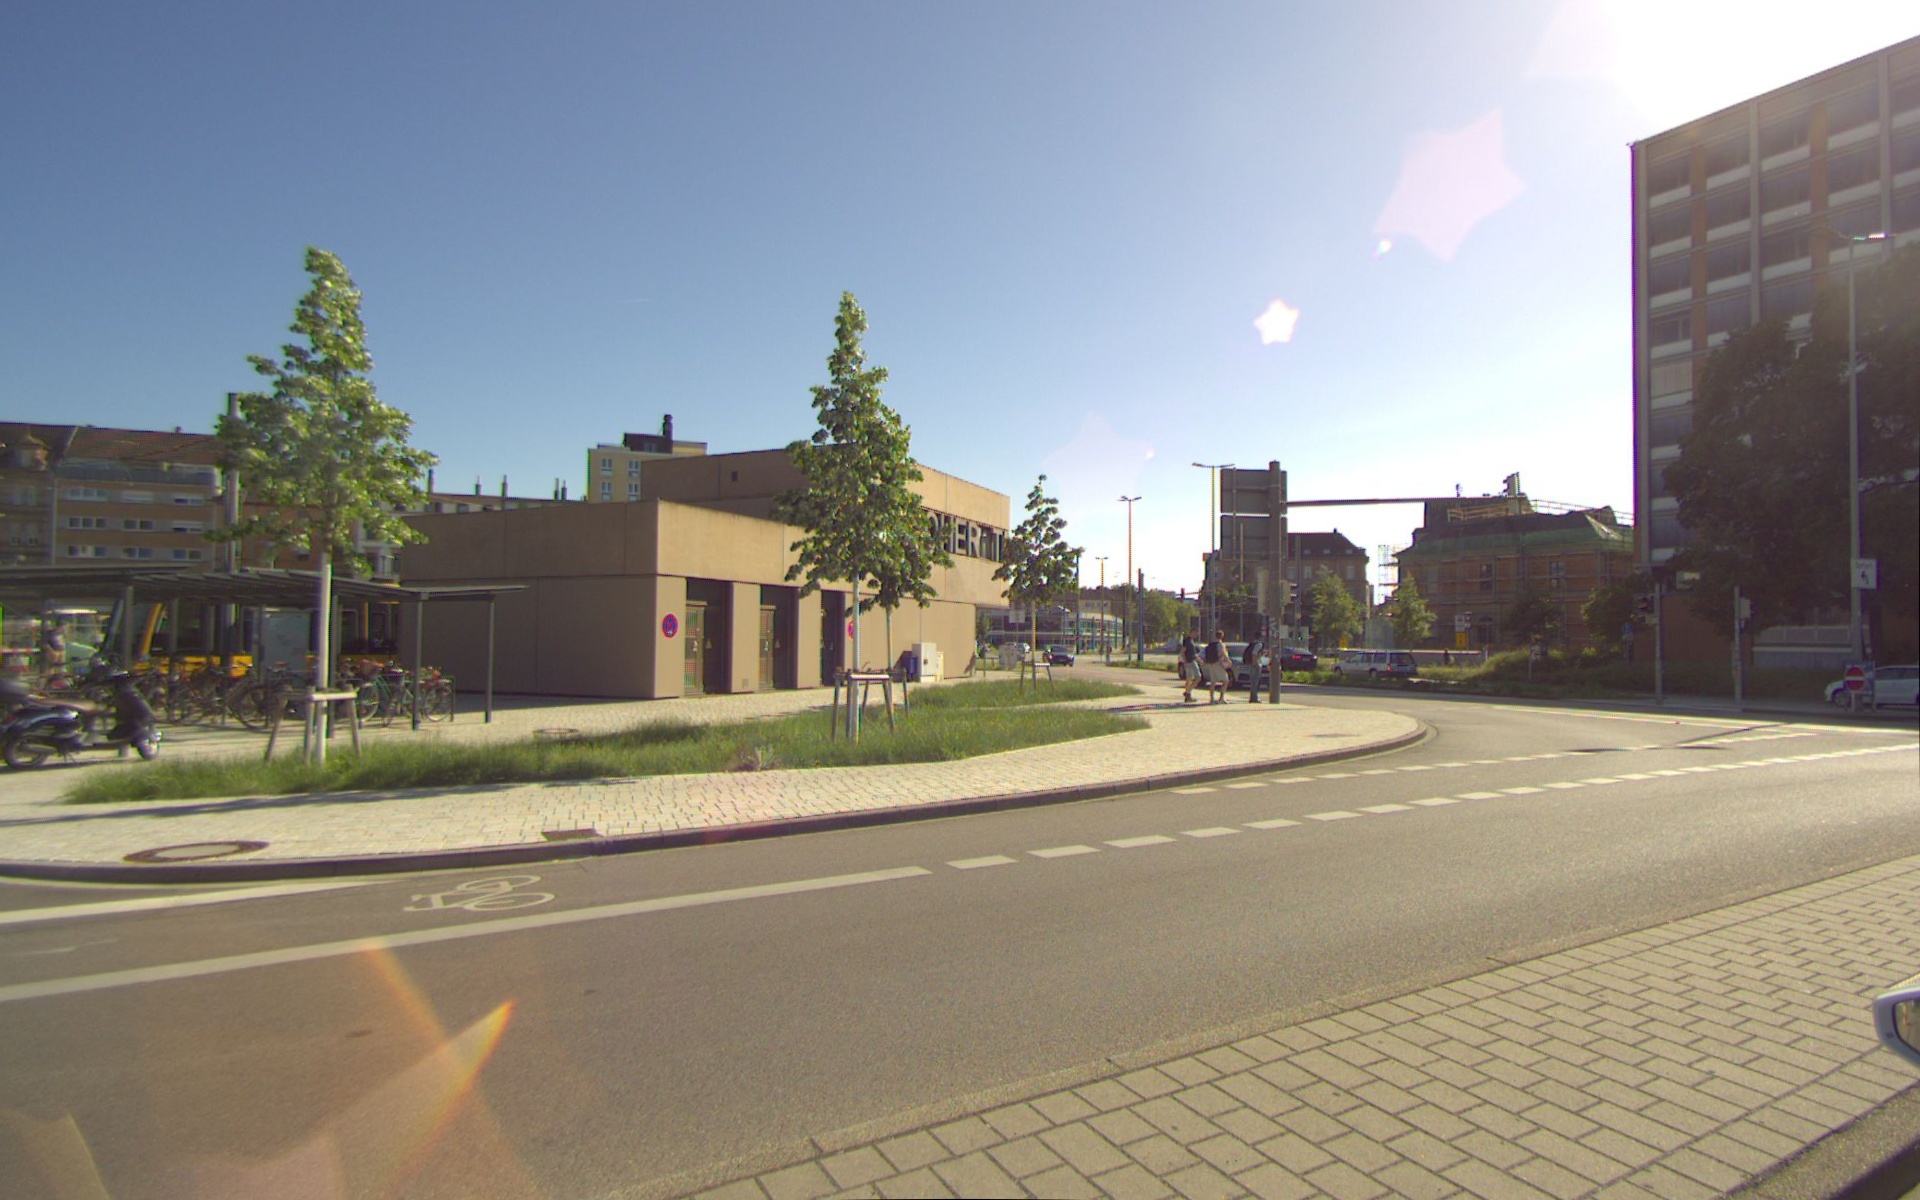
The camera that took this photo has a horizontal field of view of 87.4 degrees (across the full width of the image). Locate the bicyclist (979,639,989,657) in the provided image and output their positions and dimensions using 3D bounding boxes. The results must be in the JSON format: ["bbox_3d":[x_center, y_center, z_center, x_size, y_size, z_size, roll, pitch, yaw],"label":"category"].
[{"bbox_3d":[2.038,4.157,86.777,0.727,1.519,1.071,1,-3,-7],"label":"bicyclist"}]

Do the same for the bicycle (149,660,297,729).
[{"bbox_3d":[-12.897,1.627,17.658,0.524,1.051,2.070,2,0,26],"label":"bicycle"}]

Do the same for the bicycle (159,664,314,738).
[{"bbox_3d":[-12.012,1.650,16.763,0.524,1.051,2.070,2,0,26],"label":"bicycle"}]

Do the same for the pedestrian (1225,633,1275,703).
[{"bbox_3d":[7.358,1.727,25.519,0.831,1.711,0.896,5,-5,-34],"label":"pedestrian"}]

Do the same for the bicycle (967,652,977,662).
[{"bbox_3d":[1.152,5.350,94.548,0.674,0.930,1.989,1,-4,-8],"label":"bicycle"}]

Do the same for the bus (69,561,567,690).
[{"bbox_3d":[-18.520,0.861,31.168,2.810,3.112,13.620,0,-2,25],"label":"bus"}]

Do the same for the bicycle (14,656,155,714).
[{"bbox_3d":[-17.771,1.695,20.458,0.524,1.051,2.070,5,0,26],"label":"bicycle"}]

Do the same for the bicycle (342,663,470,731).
[{"bbox_3d":[-9.966,1.719,18.162,0.524,1.051,2.070,2,0,26],"label":"bicycle"}]

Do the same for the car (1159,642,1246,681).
[{"bbox_3d":[11.131,2.856,46.436,1.815,1.640,4.687,3,-4,-16],"label":"car"}]

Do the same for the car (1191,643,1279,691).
[{"bbox_3d":[9.725,2.356,35.859,1.759,1.602,4.257,0,-3,-3],"label":"car"}]

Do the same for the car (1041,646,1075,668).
[{"bbox_3d":[7.032,4.137,72.384,1.784,1.524,4.785,-1,-3,-3],"label":"car"}]

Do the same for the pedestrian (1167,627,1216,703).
[{"bbox_3d":[5.757,1.620,25.018,1.081,1.822,0.706,1,-4,2],"label":"pedestrian"}]

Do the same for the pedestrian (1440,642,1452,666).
[{"bbox_3d":[33.072,3.670,68.337,0.636,1.637,0.548,0,-2,10],"label":"pedestrian"}]

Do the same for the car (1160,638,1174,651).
[{"bbox_3d":[34.367,7.385,166.953,1.959,2.040,4.003,0,-2,7],"label":"car"}]

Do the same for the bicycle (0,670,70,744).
[{"bbox_3d":[-13.695,1.529,14.175,0.399,0.985,1.683,2,0,22],"label":"bicycle"}]

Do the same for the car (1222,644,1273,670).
[{"bbox_3d":[19.783,3.914,69.307,1.810,1.653,4.382,1,-2,-8],"label":"car"}]

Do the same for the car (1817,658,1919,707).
[{"bbox_3d":[30.700,2.716,32.801,1.714,1.454,3.837,3,-2,-15],"label":"car"}]

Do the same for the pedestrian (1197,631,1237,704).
[{"bbox_3d":[6.214,1.630,24.274,0.773,1.711,0.795,1,-5,1],"label":"pedestrian"}]

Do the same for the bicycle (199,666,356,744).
[{"bbox_3d":[-10.902,1.647,16.134,0.524,1.051,2.070,2,0,26],"label":"bicycle"}]

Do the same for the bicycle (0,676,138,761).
[{"bbox_3d":[-12.201,1.571,13.579,0.399,0.985,1.683,2,0,22],"label":"bicycle"}]

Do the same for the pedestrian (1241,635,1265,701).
[{"bbox_3d":[7.892,1.829,27.070,0.585,1.751,0.580,0,-2,14],"label":"pedestrian"}]

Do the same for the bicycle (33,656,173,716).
[{"bbox_3d":[-16.882,1.675,19.849,0.524,1.051,2.070,-2,-2,26],"label":"bicycle"}]

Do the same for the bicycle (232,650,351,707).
[{"bbox_3d":[-13.916,1.613,20.994,0.524,1.051,2.070,2,0,26],"label":"bicycle"}]

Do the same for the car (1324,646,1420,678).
[{"bbox_3d":[19.863,2.970,48.659,1.812,1.406,4.888,1,-2,-13],"label":"car"}]

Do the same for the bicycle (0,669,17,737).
[{"bbox_3d":[-14.717,1.539,14.426,0.399,0.985,1.683,2,0,22],"label":"bicycle"}]

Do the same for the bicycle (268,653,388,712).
[{"bbox_3d":[-12.741,1.645,20.329,0.524,1.051,2.070,2,0,26],"label":"bicycle"}]

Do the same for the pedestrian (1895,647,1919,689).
[{"bbox_3d":[37.161,2.651,39.121,0.550,1.591,0.860,1,-4,-17],"label":"pedestrian"}]

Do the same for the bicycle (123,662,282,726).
[{"bbox_3d":[-13.708,1.675,18.262,0.673,0.956,2.233,2,0,25],"label":"bicycle"}]

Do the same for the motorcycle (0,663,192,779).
[{"bbox_3d":[-10.848,1.445,12.477,0.558,1.235,2.087,0,-1,21],"label":"motorcycle"}]

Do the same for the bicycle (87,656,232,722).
[{"bbox_3d":[-15.016,1.638,18.906,0.524,1.051,2.070,5,1,26],"label":"bicycle"}]

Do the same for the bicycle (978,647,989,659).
[{"bbox_3d":[2.025,4.603,86.752,0.727,1.008,1.989,1,-4,-7],"label":"bicycle"}]

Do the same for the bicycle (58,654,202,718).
[{"bbox_3d":[-15.901,1.621,19.321,0.524,1.051,2.070,5,1,26],"label":"bicycle"}]

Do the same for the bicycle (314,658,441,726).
[{"bbox_3d":[-10.796,1.681,18.700,0.594,1.093,2.053,2,0,25],"label":"bicycle"}]

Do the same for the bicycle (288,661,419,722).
[{"bbox_3d":[-11.761,1.747,19.573,0.679,1.011,2.140,2,0,26],"label":"bicycle"}]

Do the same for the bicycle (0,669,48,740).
[{"bbox_3d":[-14.199,1.523,14.376,0.399,0.985,1.683,2,0,22],"label":"bicycle"}]

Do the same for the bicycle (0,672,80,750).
[{"bbox_3d":[-13.229,1.541,13.814,0.399,0.985,1.683,2,0,22],"label":"bicycle"}]

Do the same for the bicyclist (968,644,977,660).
[{"bbox_3d":[1.179,4.892,94.526,0.675,1.440,1.126,1,-4,-9],"label":"bicyclist"}]

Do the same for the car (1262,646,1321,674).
[{"bbox_3d":[20.703,3.734,62.900,1.810,1.653,4.382,1,-2,-8],"label":"car"}]
